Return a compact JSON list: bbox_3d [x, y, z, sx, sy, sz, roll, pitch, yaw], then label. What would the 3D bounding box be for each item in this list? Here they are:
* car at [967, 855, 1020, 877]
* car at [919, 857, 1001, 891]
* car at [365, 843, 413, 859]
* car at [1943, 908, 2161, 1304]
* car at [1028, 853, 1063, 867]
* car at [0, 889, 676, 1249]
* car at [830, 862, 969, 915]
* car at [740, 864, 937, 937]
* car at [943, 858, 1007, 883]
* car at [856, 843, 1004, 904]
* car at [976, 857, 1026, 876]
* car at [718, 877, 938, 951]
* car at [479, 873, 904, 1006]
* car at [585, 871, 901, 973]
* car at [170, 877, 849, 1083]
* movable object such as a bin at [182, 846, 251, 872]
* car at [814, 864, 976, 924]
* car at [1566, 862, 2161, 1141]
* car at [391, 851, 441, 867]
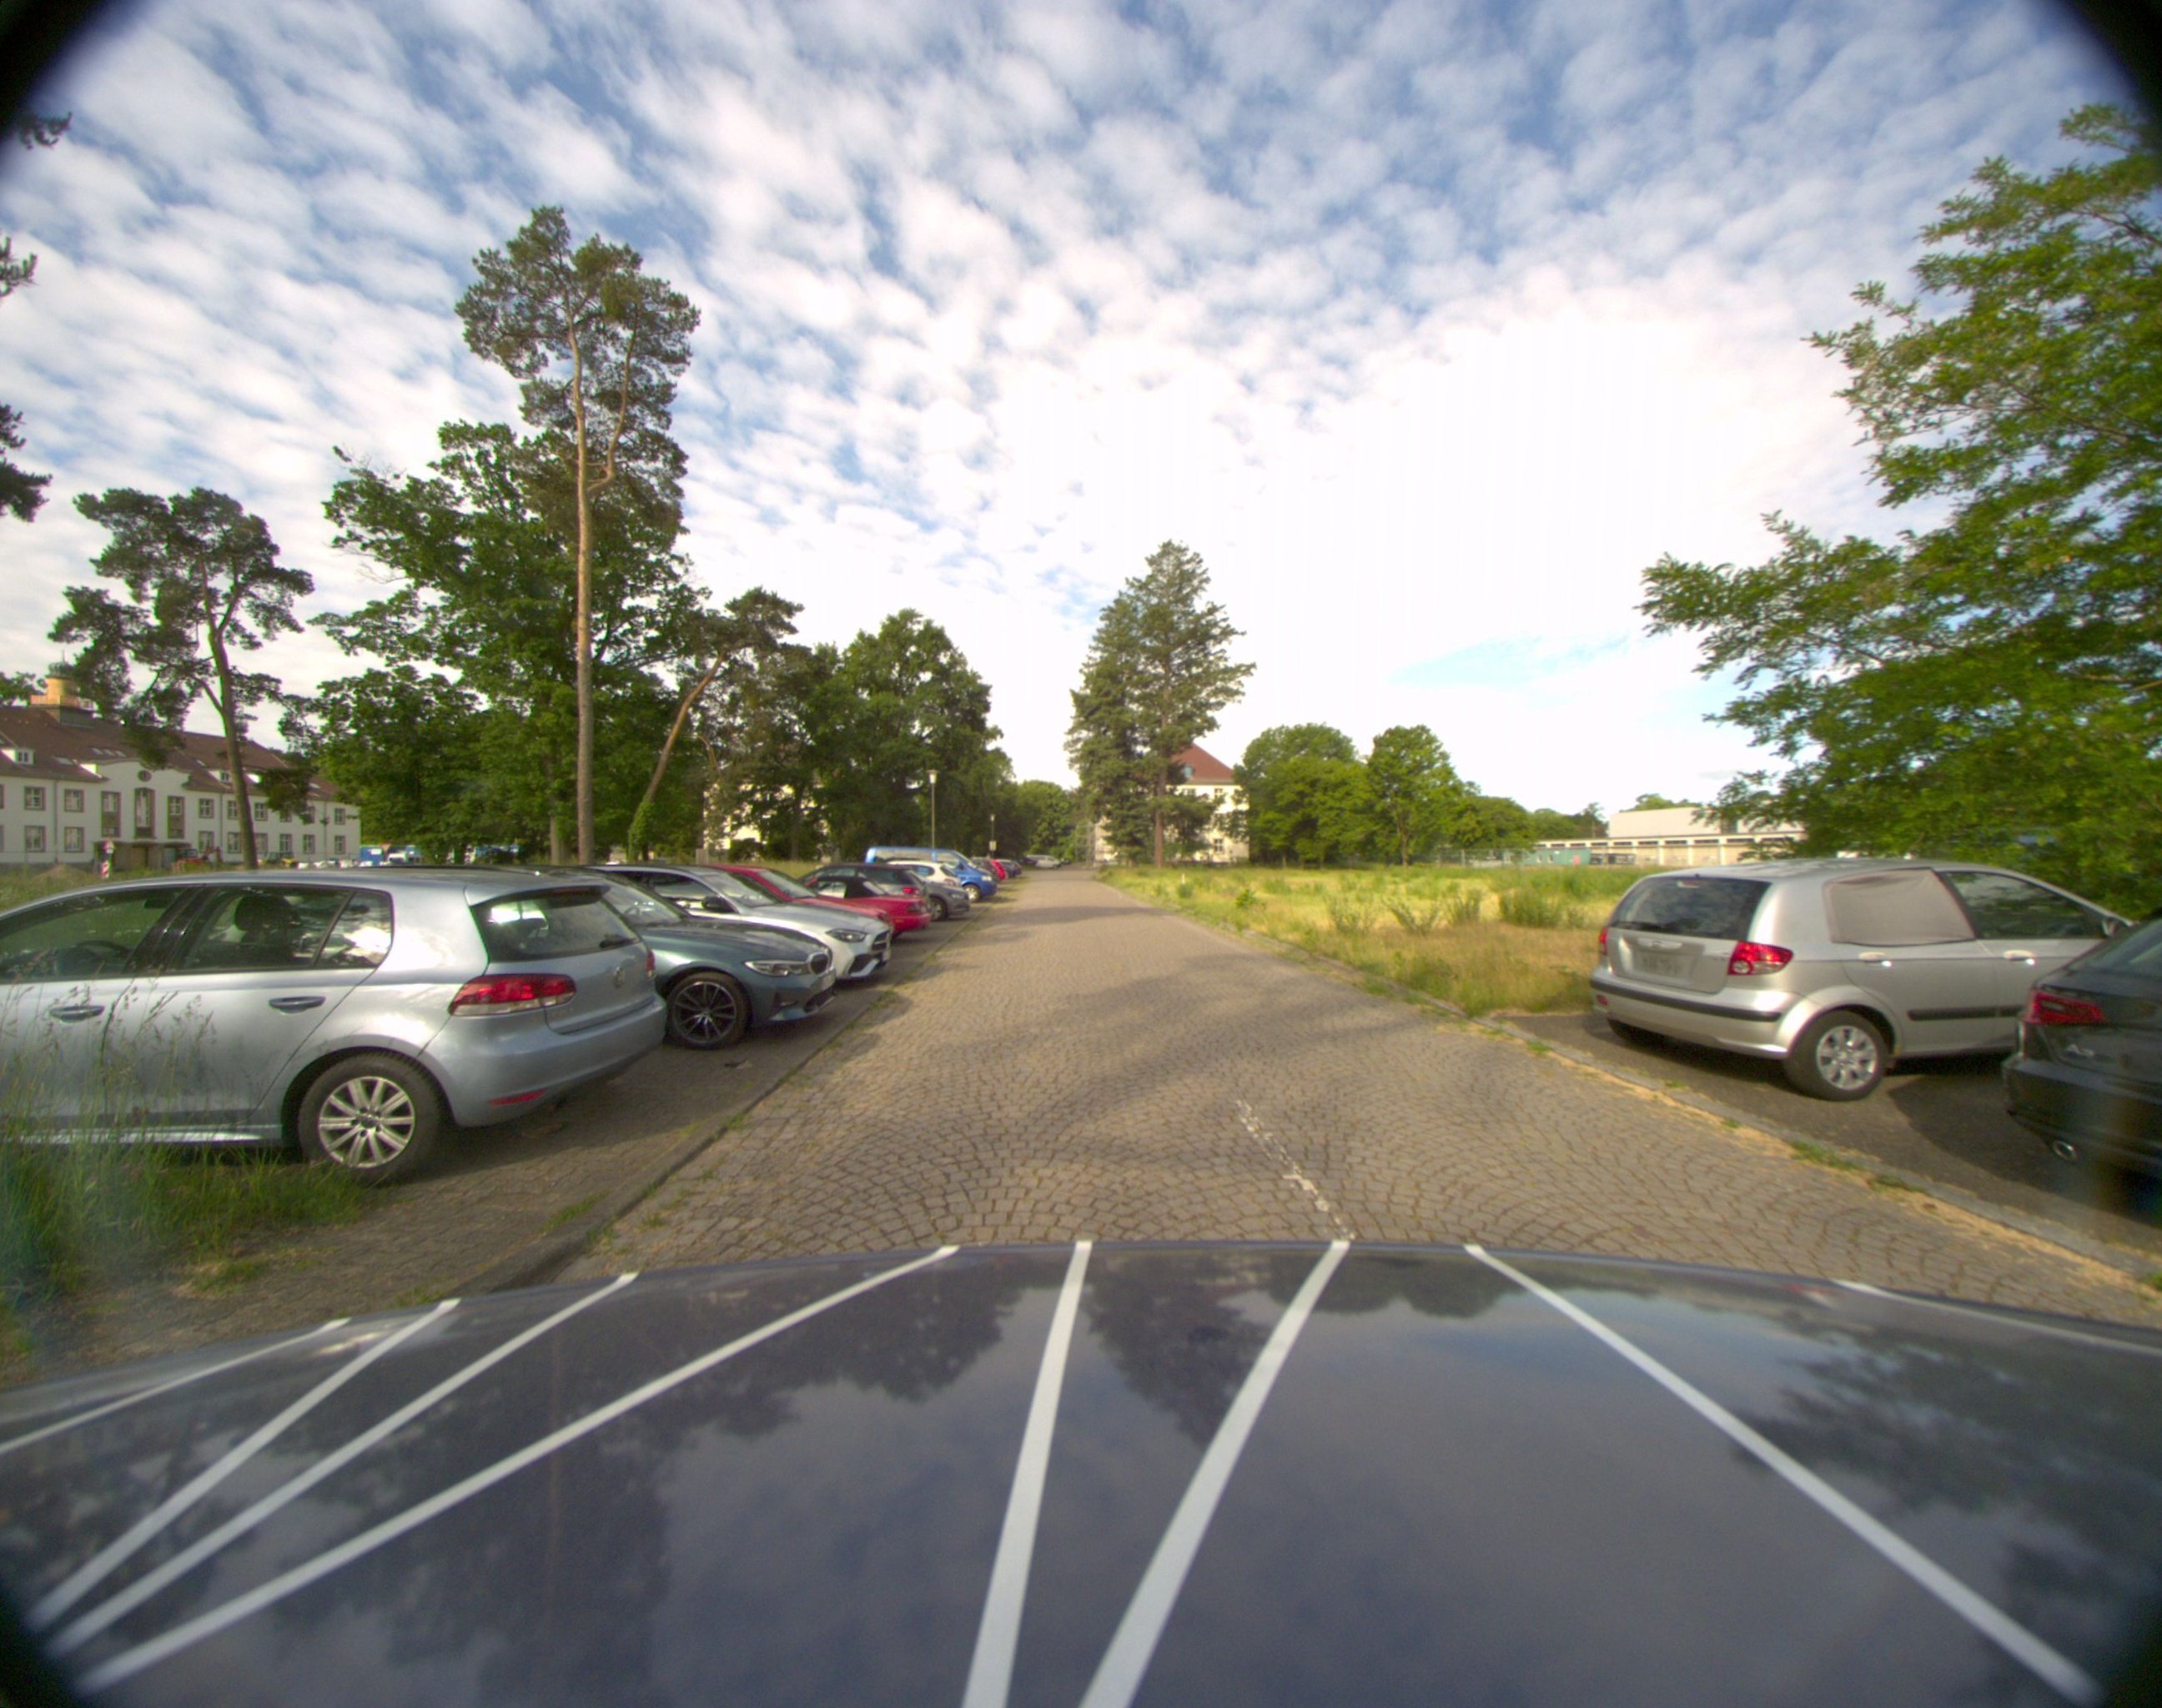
[{"bbox_3d":[-6.583,0.913,57.385,3.837,1.609,1.581,0,0,2],"label":"car"},{"bbox_3d":[-5.767,0.938,36.560,3.839,1.592,1.580,0,0,-6],"label":"car"},{"bbox_3d":[-85.355,-0.353,93.770,2.218,2.002,4.001,0,0,3],"label":"car"},{"bbox_3d":[5.983,0.917,2.791,3.846,1.400,1.695,-3,0,-3],"label":"car"},{"bbox_3d":[-5.221,0.816,110.915,5.131,2.002,1.804,0,0,-4],"label":"car"},{"bbox_3d":[-4.559,0.964,4.086,3.854,1.462,1.641,0,0,-5],"label":"car"},{"bbox_3d":[-5.312,0.990,22.574,3.762,1.490,1.581,0,0,-1],"label":"car"},{"bbox_3d":[-5.218,0.986,16.698,3.838,1.494,1.604,0,0,-3],"label":"car"},{"bbox_3d":[-6.488,0.984,46.883,3.839,1.516,1.580,0,0,-6],"label":"car"},{"bbox_3d":[-5.443,0.695,27.923,4.955,2.011,2.060,2,0,-1],"label":"car"},{"bbox_3d":[-6.509,1.018,62.106,3.837,1.520,1.674,0,0,2],"label":"car"},{"bbox_3d":[-4.575,1.071,14.118,3.556,1.279,1.608,0,-1,-1],"label":"car"},{"bbox_3d":[-4.557,0.996,9.440,4.338,1.420,1.766,1,0,-4],"label":"car"},{"bbox_3d":[-5.032,0.996,11.751,4.118,1.415,1.719,0,0,-2],"label":"car"},{"bbox_3d":[-4.573,0.967,6.739,4.526,1.474,1.807,0,0,-5],"label":"car"},{"bbox_3d":[-93.317,0.527,82.132,2.000,2.752,5.200,0,0,-7],"label":"movable object such as a bin"},{"bbox_3d":[-4.704,1.005,19.595,3.782,1.457,1.642,0,0,-1],"label":"car"},{"bbox_3d":[5.793,0.888,5.471,3.587,1.467,1.646,-3,1,-5],"label":"car"},{"bbox_3d":[-71.334,0.542,81.563,1.847,1.674,3.936,2,0,1],"label":"car"}]
